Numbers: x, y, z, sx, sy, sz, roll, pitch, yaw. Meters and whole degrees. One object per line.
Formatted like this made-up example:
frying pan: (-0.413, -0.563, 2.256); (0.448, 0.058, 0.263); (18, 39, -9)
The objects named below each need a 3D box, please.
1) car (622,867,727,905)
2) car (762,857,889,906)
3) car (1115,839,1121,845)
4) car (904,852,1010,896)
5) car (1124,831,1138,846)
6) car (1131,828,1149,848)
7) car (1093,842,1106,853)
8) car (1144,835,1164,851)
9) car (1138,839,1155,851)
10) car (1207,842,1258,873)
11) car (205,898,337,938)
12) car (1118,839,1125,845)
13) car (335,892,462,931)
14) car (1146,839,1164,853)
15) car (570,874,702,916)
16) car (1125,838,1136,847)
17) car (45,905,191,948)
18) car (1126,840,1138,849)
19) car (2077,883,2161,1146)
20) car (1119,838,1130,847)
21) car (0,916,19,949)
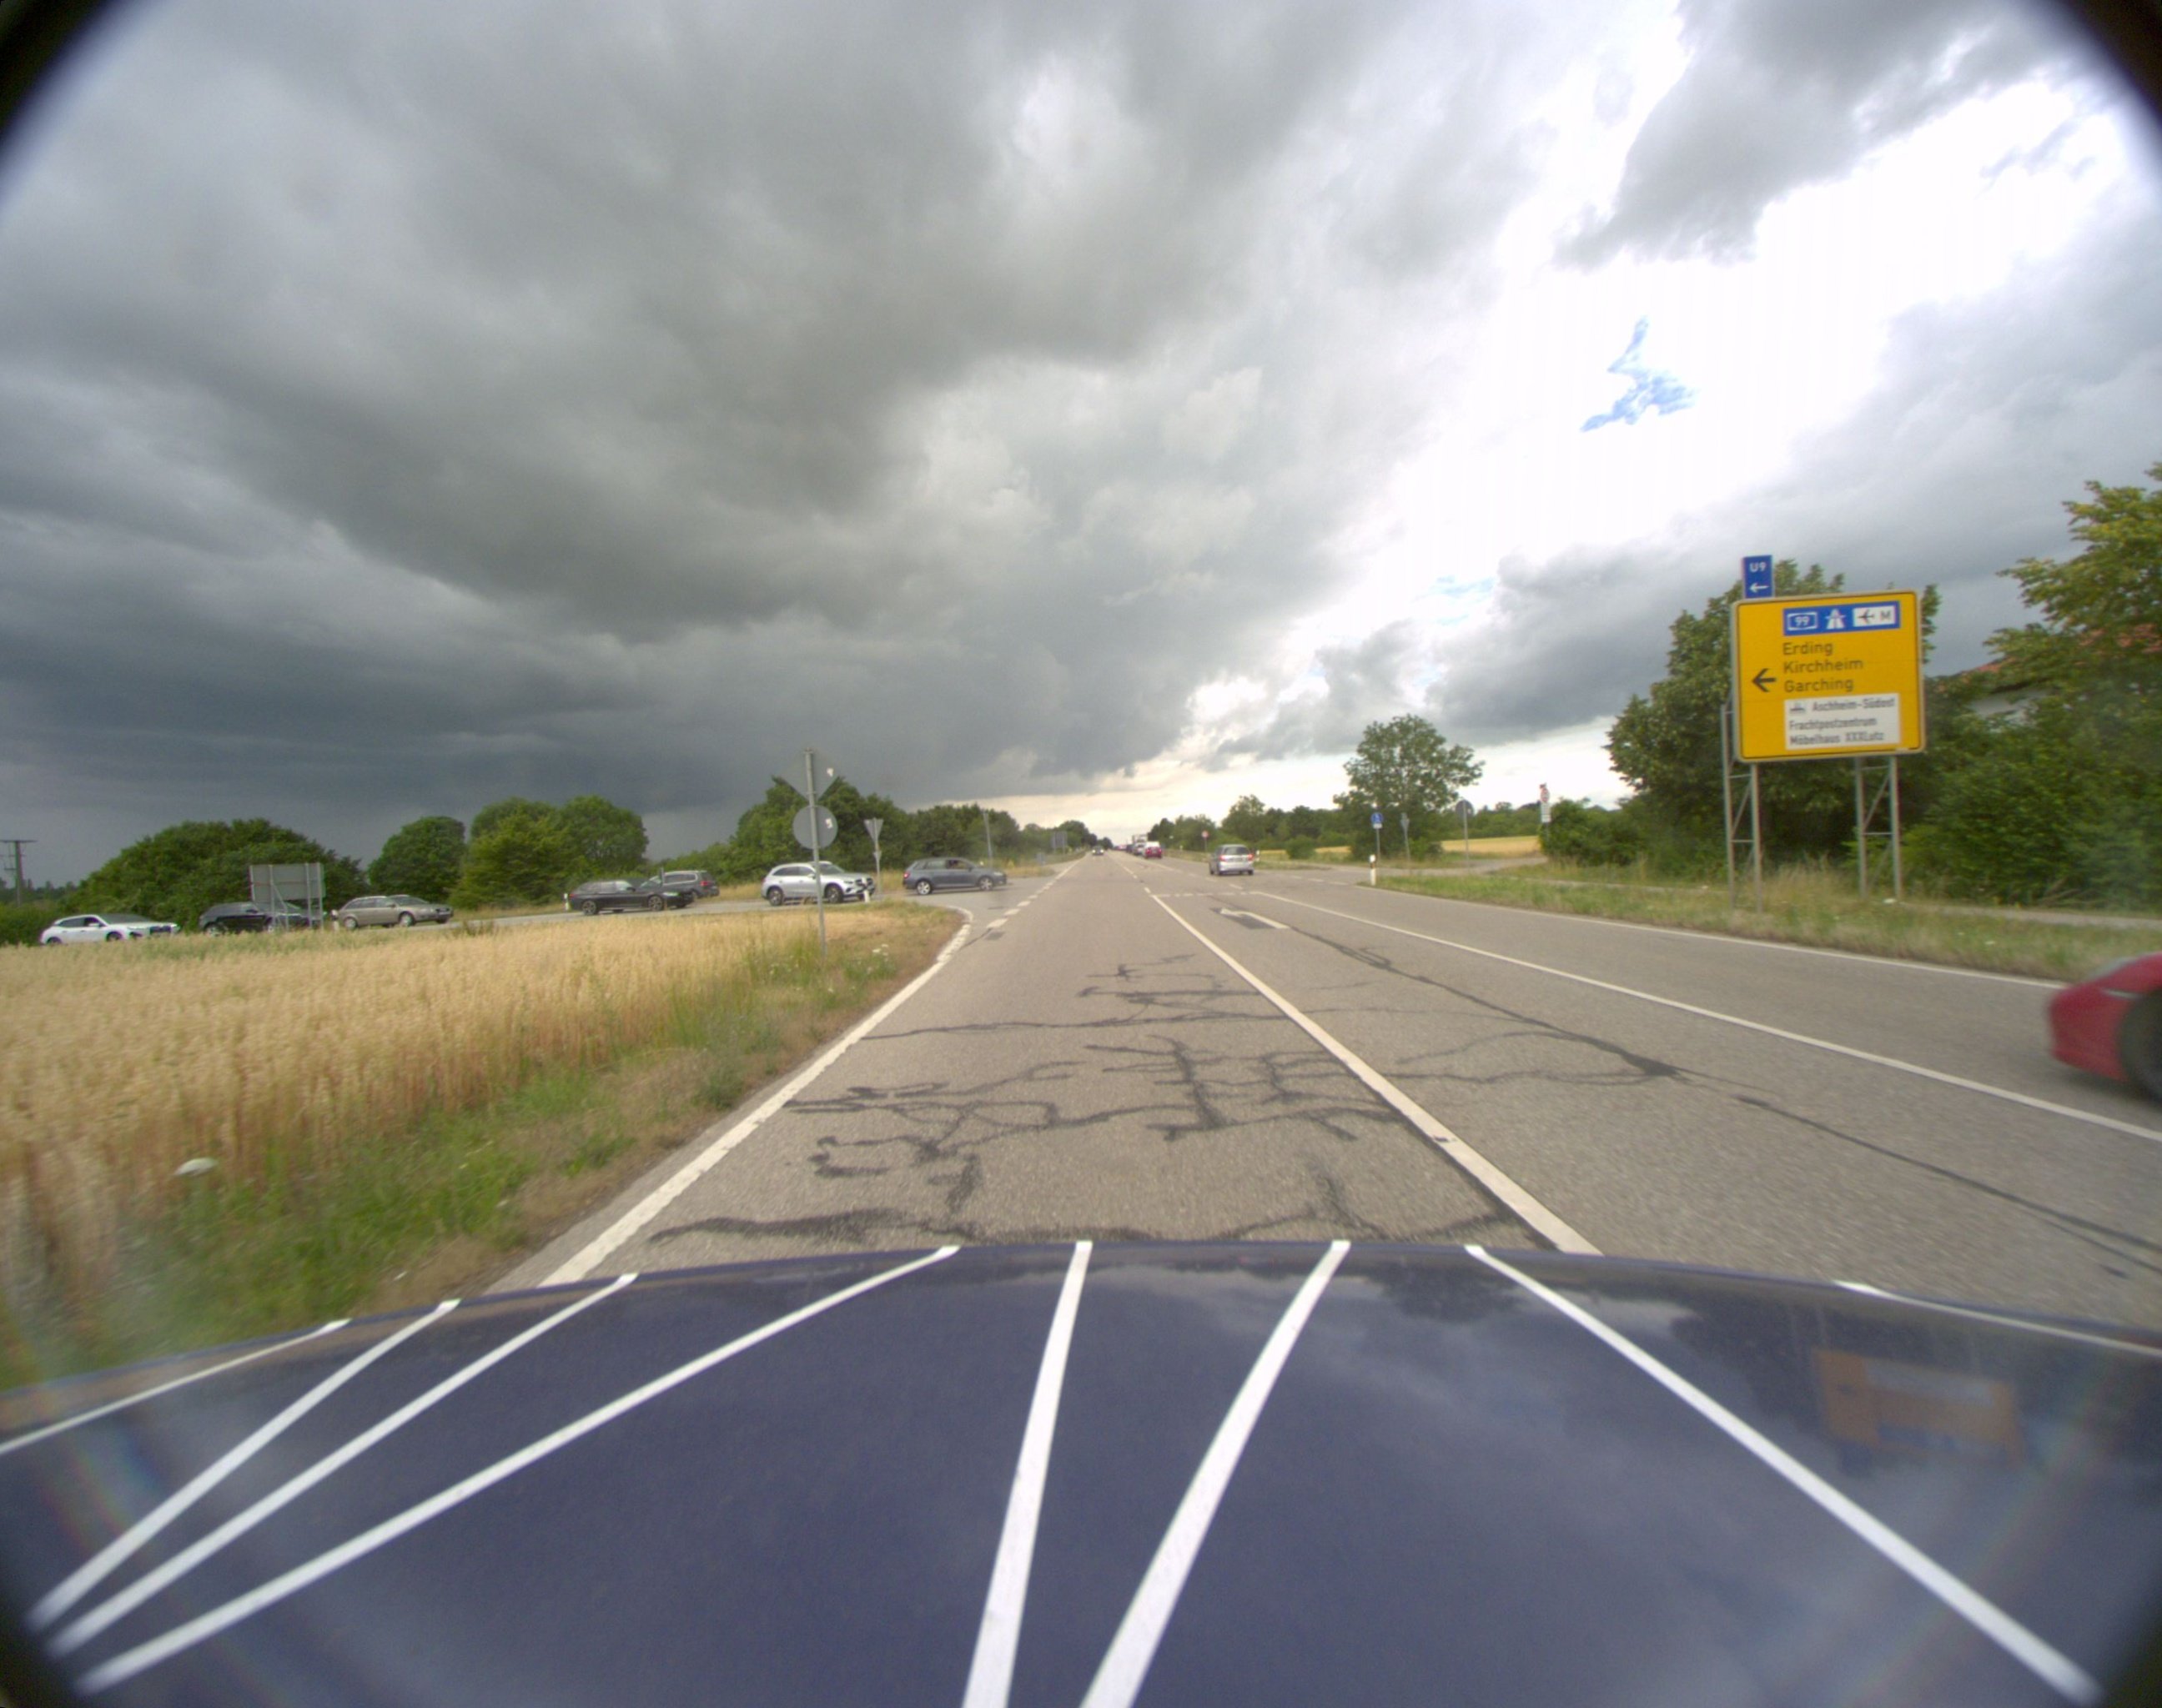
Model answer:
car: (-20.471, 1.606, 38.357); (4.287, 1.649, 1.753); (-2, 1, 0)
car: (-10.027, 1.082, 29.834); (4.384, 1.578, 1.999); (-3, 3, 23)
car: (11.637, -3.800, 239.658); (1.856, 1.740, 4.000); (-3, 0, 2)
car: (-5.046, 0.801, 31.294); (4.115, 1.439, 1.717); (-4, 2, -5)
car: (10.634, -3.228, 161.827); (2.339, 3.011, 6.557); (-4, 0, 1)
car: (9.139, -2.452, 118.540); (2.339, 3.011, 6.558); (-1, 0, 1)
car: (3.040, -1.054, 122.363); (1.998, 1.474, 3.999); (-3, 1, 1)
car: (9.243, -1.341, 96.841); (2.111, 1.875, 5.390); (-3, 1, 1)
car: (9.166, -1.308, 107.104); (1.998, 1.614, 4.260); (-1, 0, 0)
car: (7.435, 0.131, 37.648); (1.734, 1.423, 3.934); (-2, 1, 1)
car: (-36.052, 2.844, 33.872); (4.209, 1.346, 1.722); (-4, 3, 6)
car: (11.431, -3.385, 215.100); (1.856, 1.740, 4.000); (-3, 0, 2)
car: (-30.234, 2.523, 33.708); (4.209, 1.345, 1.723); (-3, 1, 6)
car: (8.314, -0.890, 85.538); (1.676, 1.393, 4.089); (-2, 0, 2)
car: (-18.825, 1.713, 32.230); (4.689, 1.346, 1.722); (-3, 3, 8)
car: (9.637, -2.202, 148.651); (1.856, 1.740, 4.000); (-3, 0, 1)
car: (-43.565, 3.259, 34.423); (4.633, 1.486, 1.722); (-4, 3, 6)
car: (9.217, -1.779, 137.357); (1.847, 1.516, 4.000); (-4, 0, 1)
car: (6.005, 0.769, 1.817); (1.775, 1.234, 4.211); (-3, 1, 2)
car: (10.416, -2.824, 182.640); (2.339, 1.911, 4.875); (-4, 0, 1)
car: (-52.122, 3.799, 34.992); (4.209, 1.486, 1.722); (-4, 3, 6)
